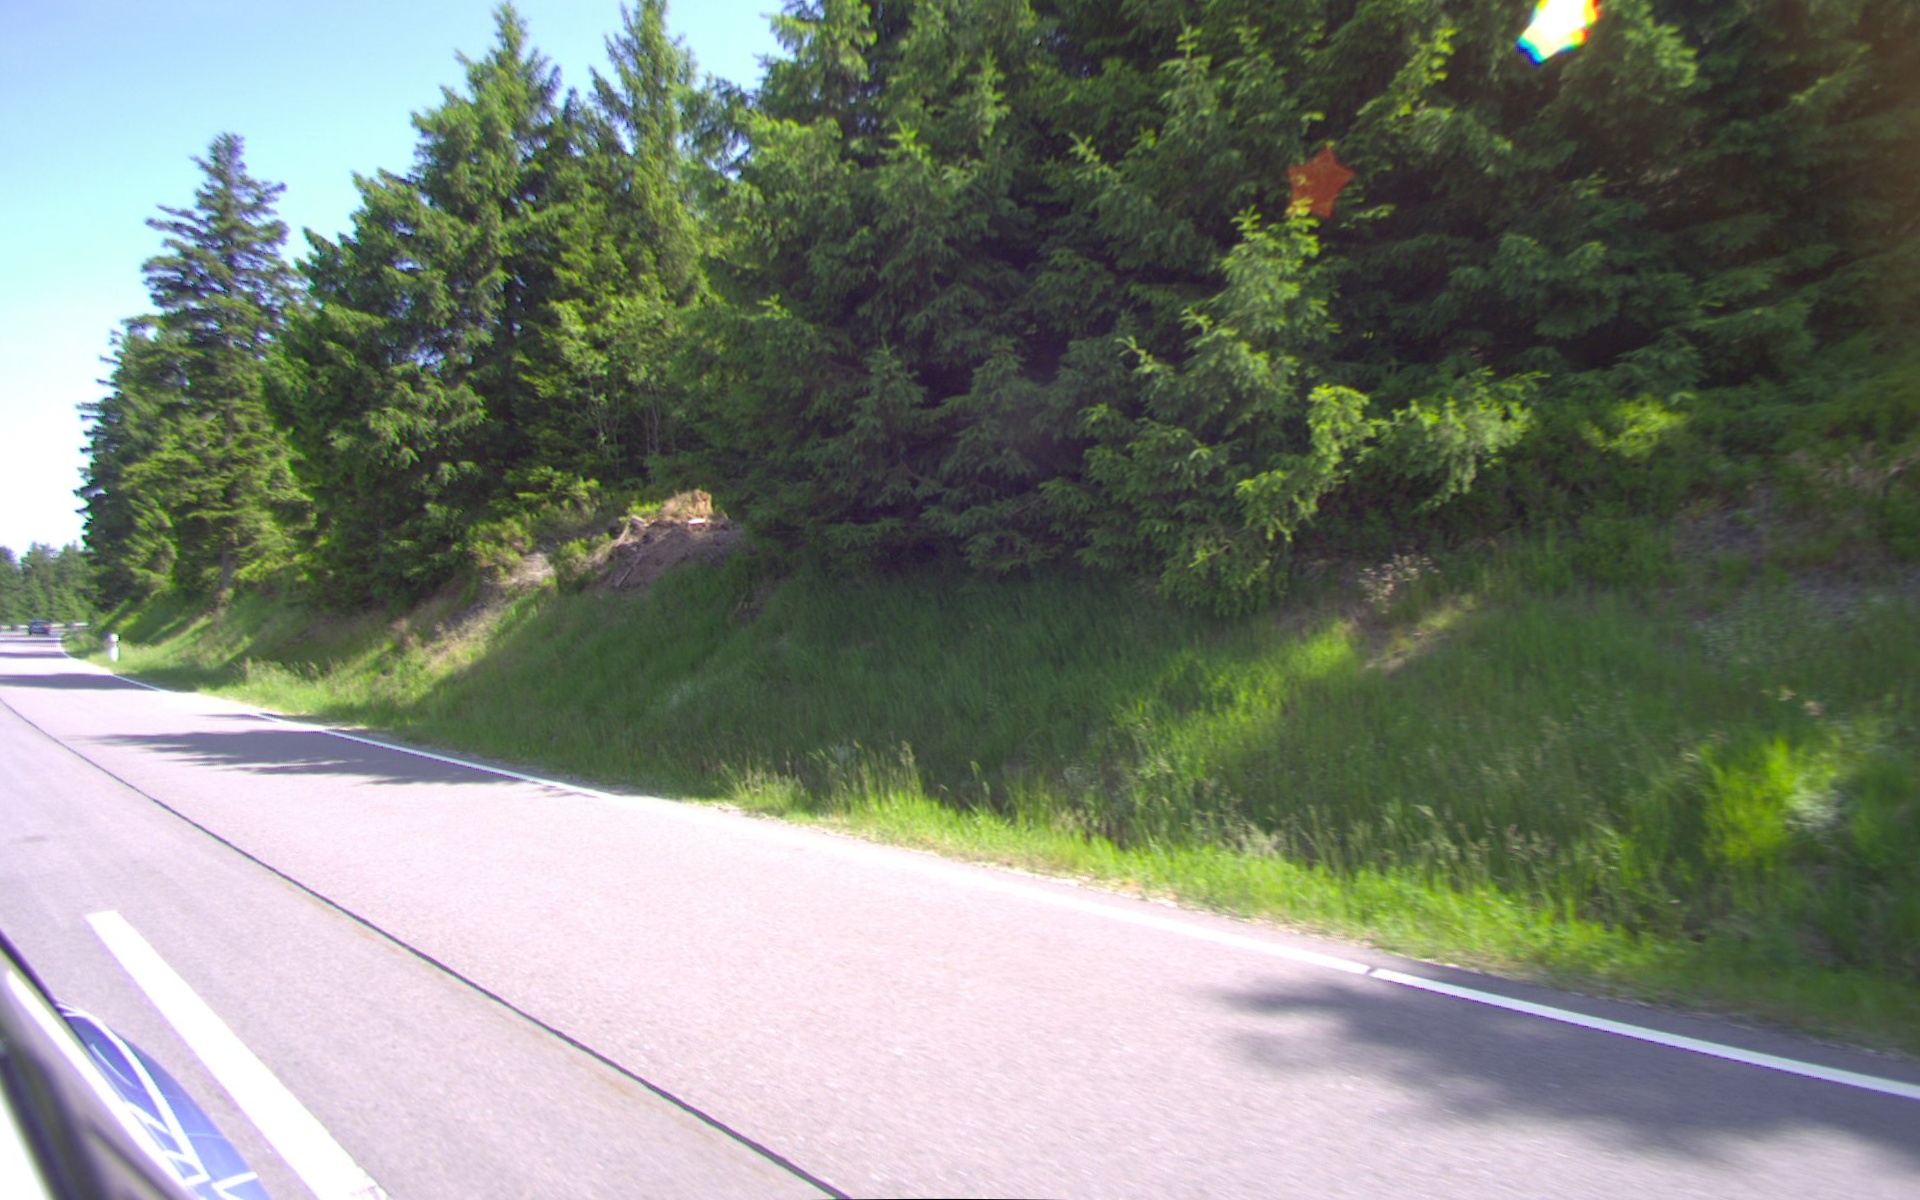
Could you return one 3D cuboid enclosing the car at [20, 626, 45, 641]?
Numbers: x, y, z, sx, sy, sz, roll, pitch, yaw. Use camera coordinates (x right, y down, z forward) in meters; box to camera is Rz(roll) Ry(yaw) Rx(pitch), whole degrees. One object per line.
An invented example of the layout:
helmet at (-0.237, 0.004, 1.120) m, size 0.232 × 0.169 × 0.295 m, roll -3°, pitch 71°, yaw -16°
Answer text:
car at (-91.994, 3.294, 100.389) m, size 1.665 × 1.425 × 3.264 m, roll 2°, pitch -3°, yaw -45°
